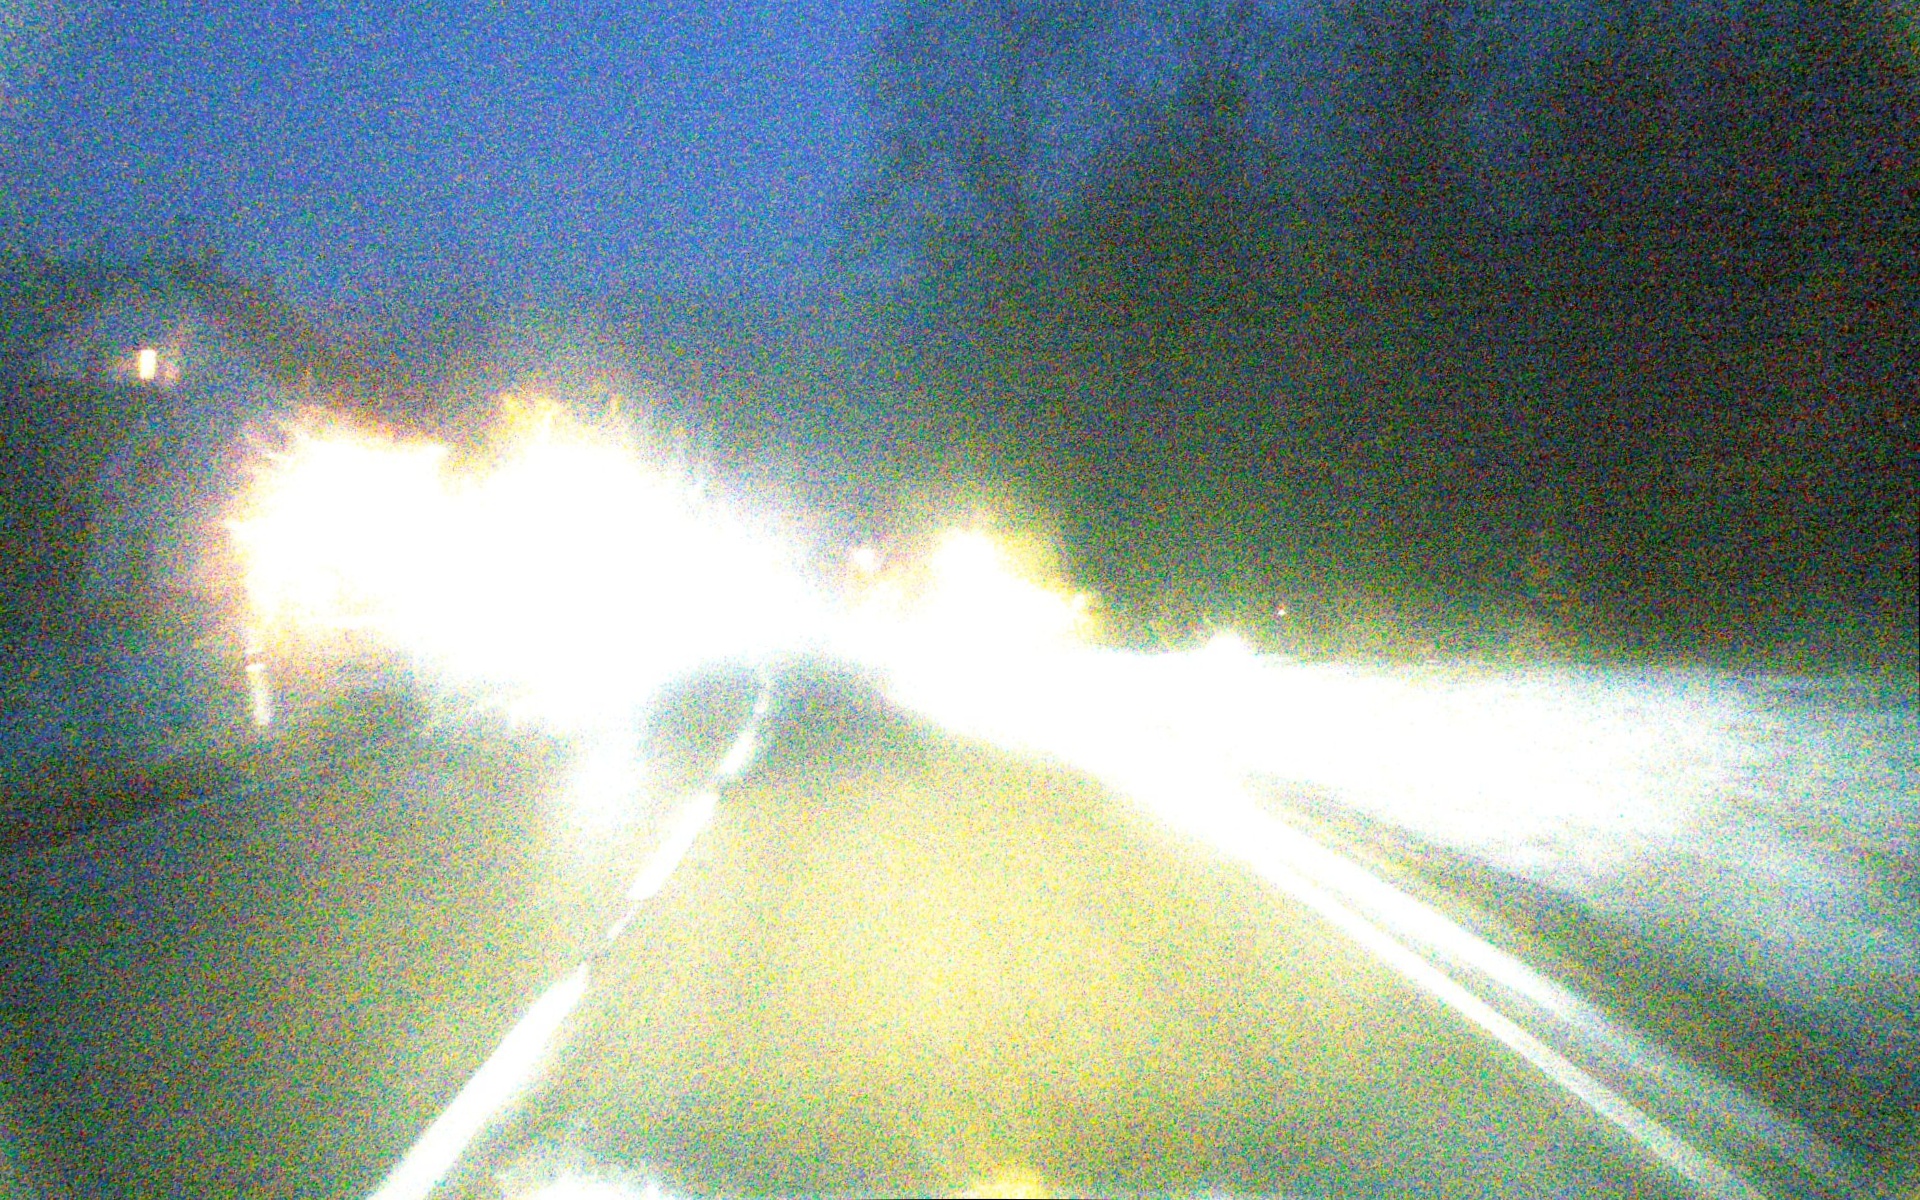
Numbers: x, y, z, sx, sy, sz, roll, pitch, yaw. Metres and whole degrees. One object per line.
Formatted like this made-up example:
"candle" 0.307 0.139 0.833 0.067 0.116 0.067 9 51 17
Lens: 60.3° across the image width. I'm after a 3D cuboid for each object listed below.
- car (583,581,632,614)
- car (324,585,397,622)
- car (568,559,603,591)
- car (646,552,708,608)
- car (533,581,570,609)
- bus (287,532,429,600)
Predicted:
"car" -17.354 -0.117 81.237 1.925 1.548 4.378 2 -1 -17
"car" -25.942 0.129 71.655 1.654 1.422 4.150 -1 1 -1
"car" -25.429 -1.665 112.277 1.962 2.049 3.981 2 -1 -17
"car" -14.833 -1.090 86.419 2.498 2.540 5.691 1 4 -17
"car" -23.952 -0.332 96.935 1.687 1.501 3.847 2 1 -19
"bus" -37.928 -2.186 103.811 12.834 3.935 2.883 3 1 43
